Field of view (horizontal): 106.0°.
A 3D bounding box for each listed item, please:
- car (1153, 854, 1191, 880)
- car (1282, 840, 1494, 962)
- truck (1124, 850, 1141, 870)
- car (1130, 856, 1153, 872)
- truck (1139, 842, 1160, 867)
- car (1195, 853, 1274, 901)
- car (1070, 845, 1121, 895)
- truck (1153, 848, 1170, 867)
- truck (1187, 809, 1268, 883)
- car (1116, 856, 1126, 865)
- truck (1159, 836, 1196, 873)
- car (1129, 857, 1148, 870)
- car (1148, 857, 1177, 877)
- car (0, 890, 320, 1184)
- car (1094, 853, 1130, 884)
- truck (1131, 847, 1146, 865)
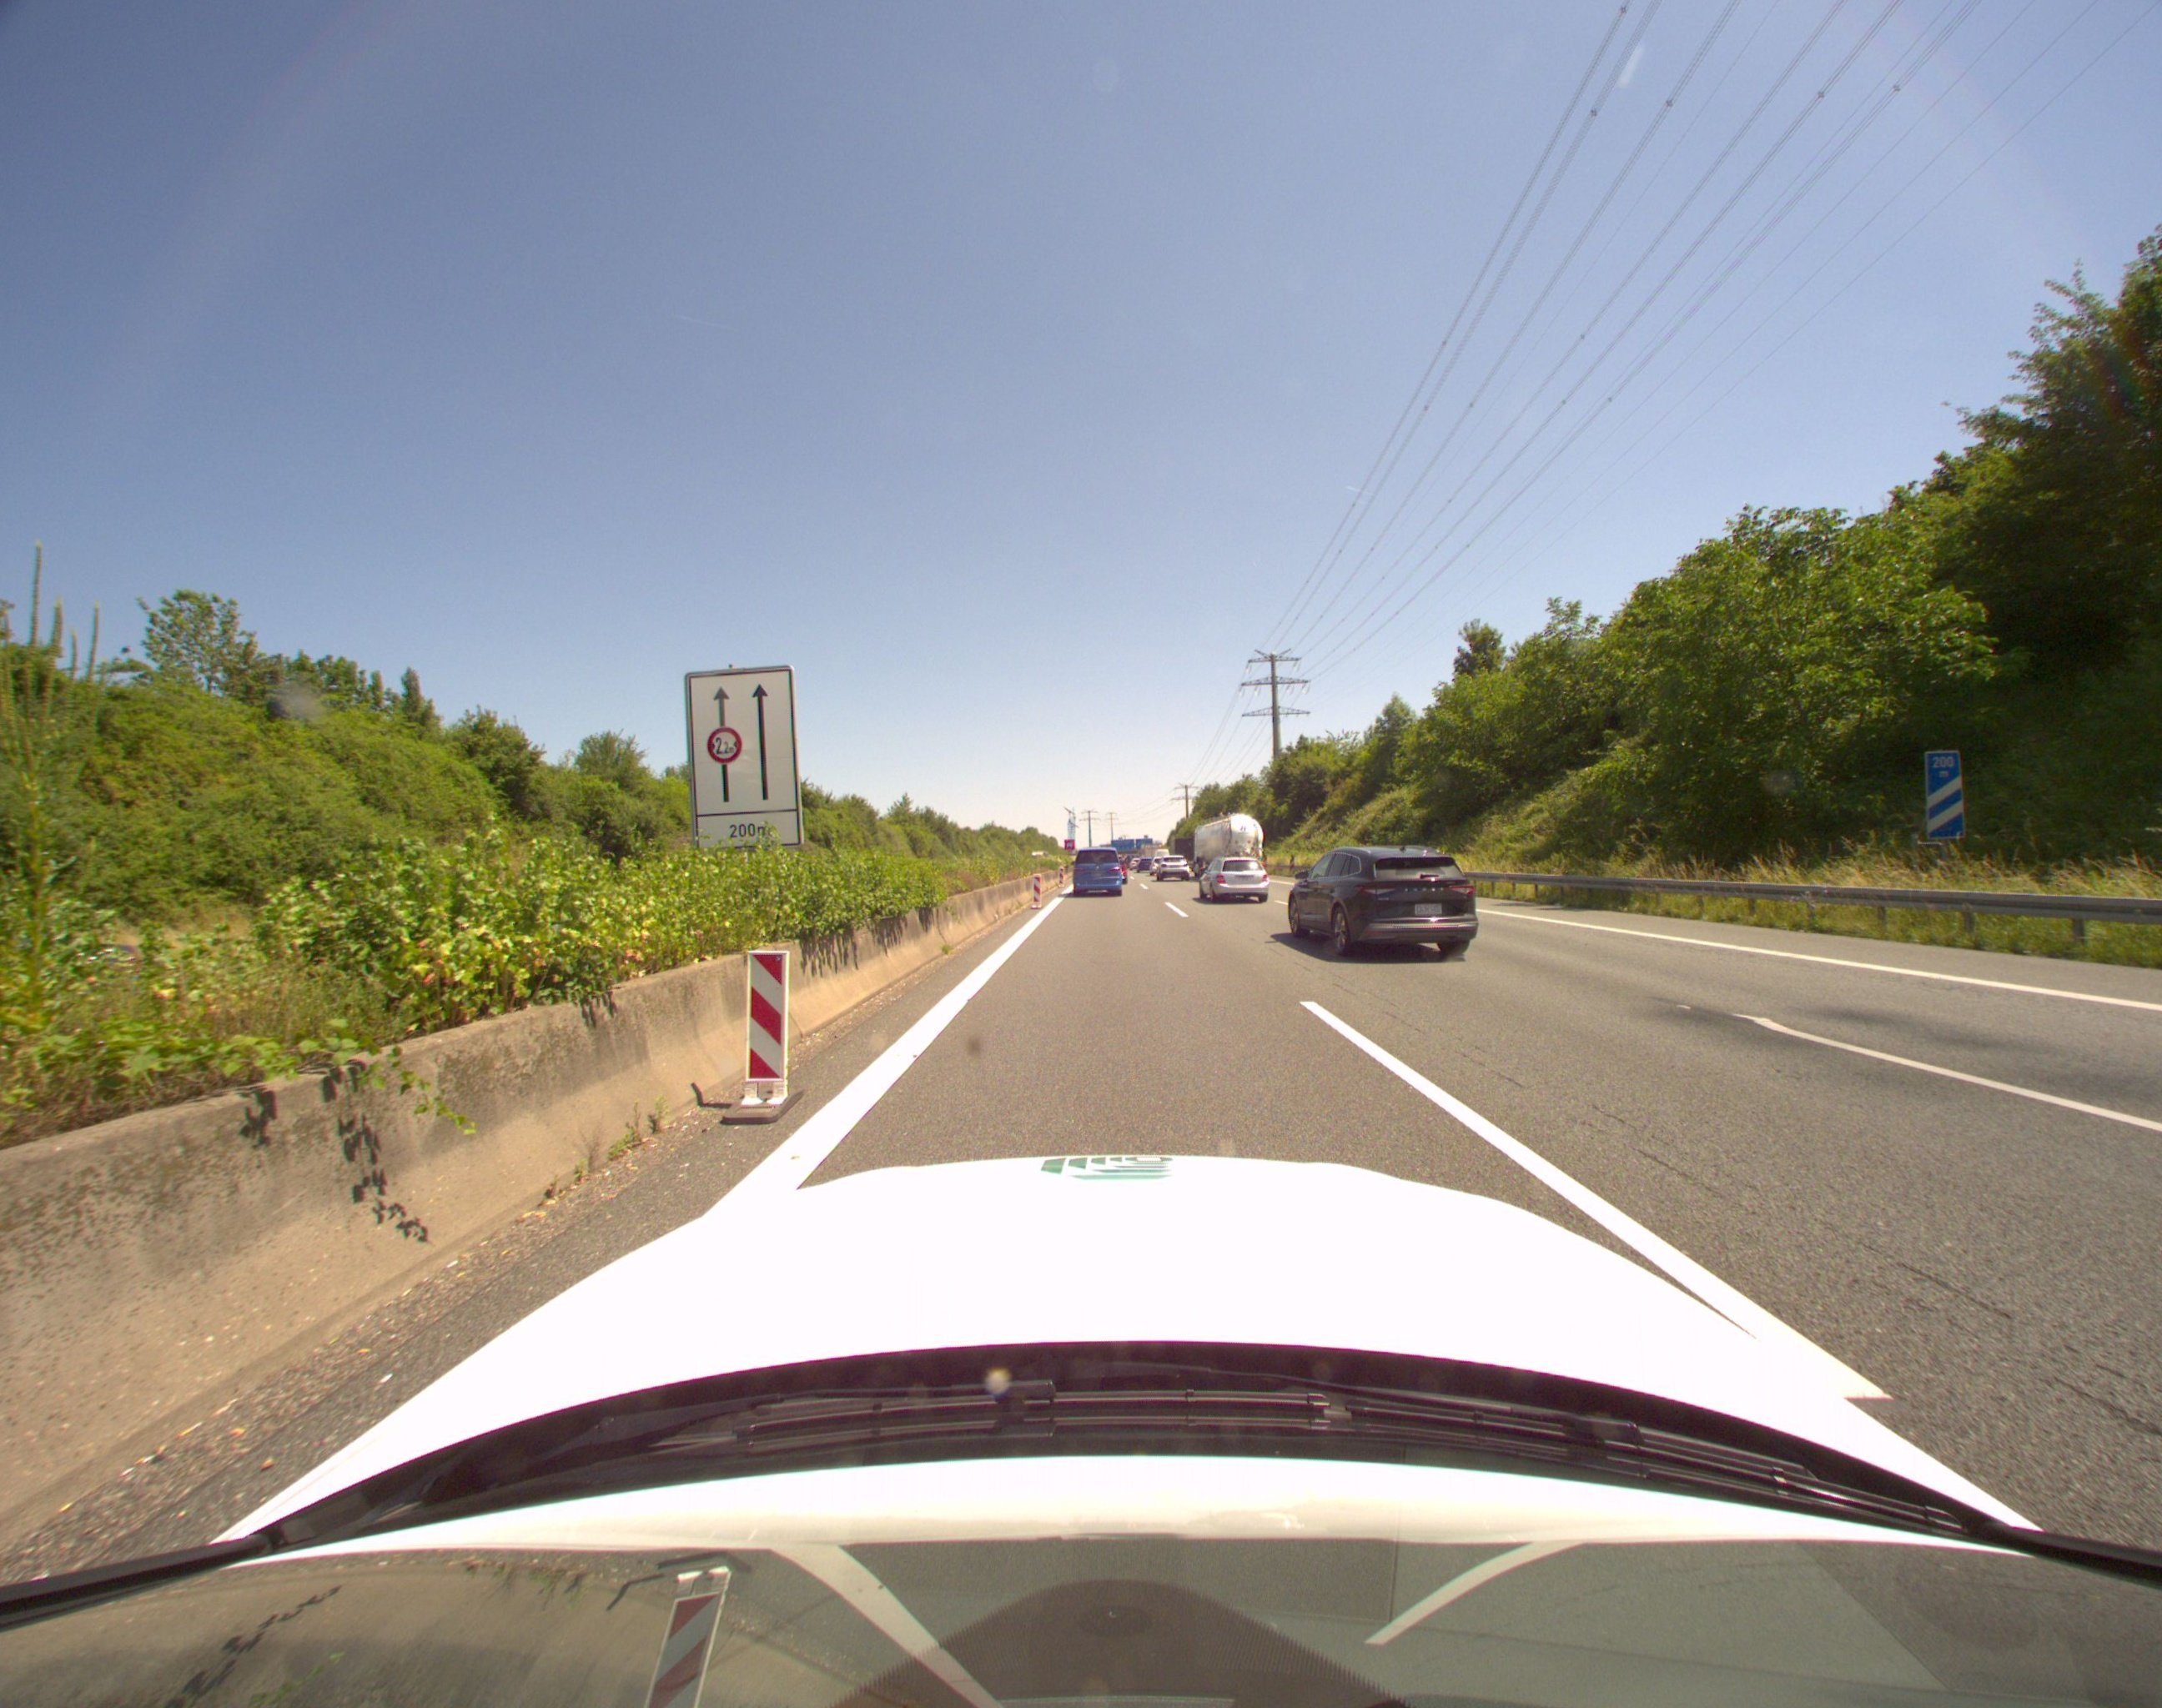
[{"bbox_3d":[5.514,0.771,49.729,1.902,1.508,3.921,0,-1,0],"label":"car"},{"bbox_3d":[4.669,0.636,13.154,1.821,1.614,4.431,-1,0,1],"label":"car"},{"bbox_3d":[6.941,0.816,110.803,1.986,2.724,5.680,0,-1,1],"label":"truck"},{"bbox_3d":[5.900,0.998,79.761,1.902,1.516,4.383,0,0,0],"label":"car"},{"bbox_3d":[12.472,0.098,148.603,2.927,4.291,12.552,0,0,1],"label":"truck"},{"bbox_3d":[4.965,0.712,26.900,1.815,1.437,4.383,0,0,0],"label":"car"},{"bbox_3d":[0.511,0.617,32.588,1.866,1.879,4.380,0,-1,-2],"label":"car"},{"bbox_3d":[11.725,0.536,118.517,1.986,2.724,5.680,0,-1,1],"label":"truck"},{"bbox_3d":[9.199,-0.373,53.484,2.635,4.072,16.442,0,0,1],"label":"truck"},{"bbox_3d":[9.083,1.538,185.703,1.987,2.014,4.000,0,-1,1],"label":"car"},{"bbox_3d":[9.976,0.083,85.505,2.635,3.539,12.552,0,0,1],"label":"truck"},{"bbox_3d":[6.819,1.157,96.920,1.902,1.516,4.383,0,0,0],"label":"car"},{"bbox_3d":[6.474,1.012,65.448,1.902,1.569,4.383,0,0,0],"label":"car"},{"bbox_3d":[-7.761,1.251,5.344,1.643,1.789,4.002,-2,0,2],"label":"car"},{"bbox_3d":[1.722,0.778,45.987,1.902,1.631,4.384,-1,-1,1],"label":"car"},{"bbox_3d":[13.932,0.486,198.351,2.927,4.291,12.552,0,0,1],"label":"truck"}]
